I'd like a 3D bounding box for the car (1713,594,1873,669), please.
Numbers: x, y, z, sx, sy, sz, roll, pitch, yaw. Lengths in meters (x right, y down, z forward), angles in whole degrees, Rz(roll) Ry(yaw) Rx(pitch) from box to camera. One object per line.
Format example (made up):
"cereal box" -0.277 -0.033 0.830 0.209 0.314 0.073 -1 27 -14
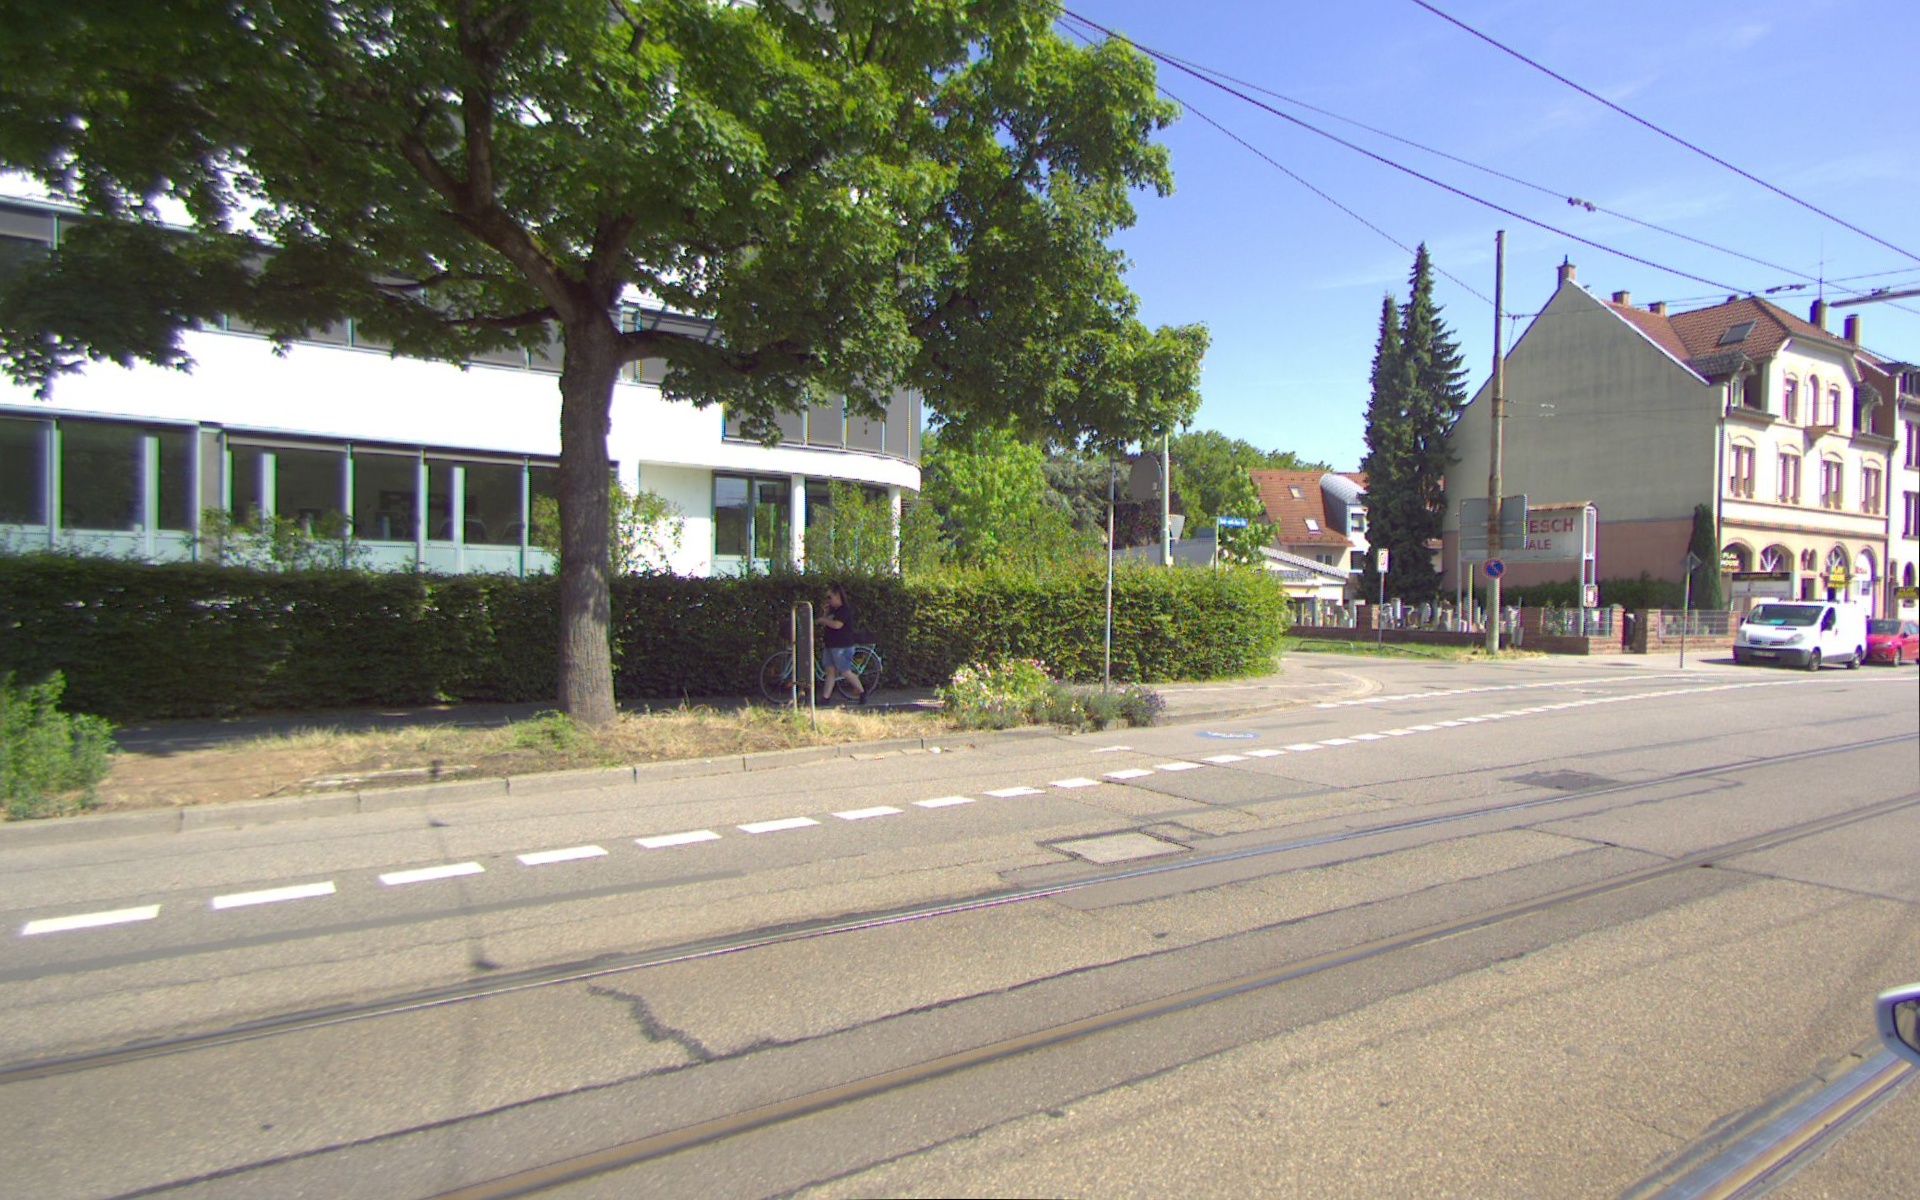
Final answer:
"car" 24.756 0.899 29.825 4.850 2.040 2.074 1 1 -30

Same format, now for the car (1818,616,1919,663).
"car" 30.069 1.246 32.981 3.955 1.425 1.711 0 0 -31

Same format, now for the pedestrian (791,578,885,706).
"pedestrian" -1.587 0.529 13.068 0.979 1.584 0.681 1 2 -36

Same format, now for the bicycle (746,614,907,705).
"bicycle" -1.751 0.759 13.340 2.044 1.132 0.632 1 0 -33
